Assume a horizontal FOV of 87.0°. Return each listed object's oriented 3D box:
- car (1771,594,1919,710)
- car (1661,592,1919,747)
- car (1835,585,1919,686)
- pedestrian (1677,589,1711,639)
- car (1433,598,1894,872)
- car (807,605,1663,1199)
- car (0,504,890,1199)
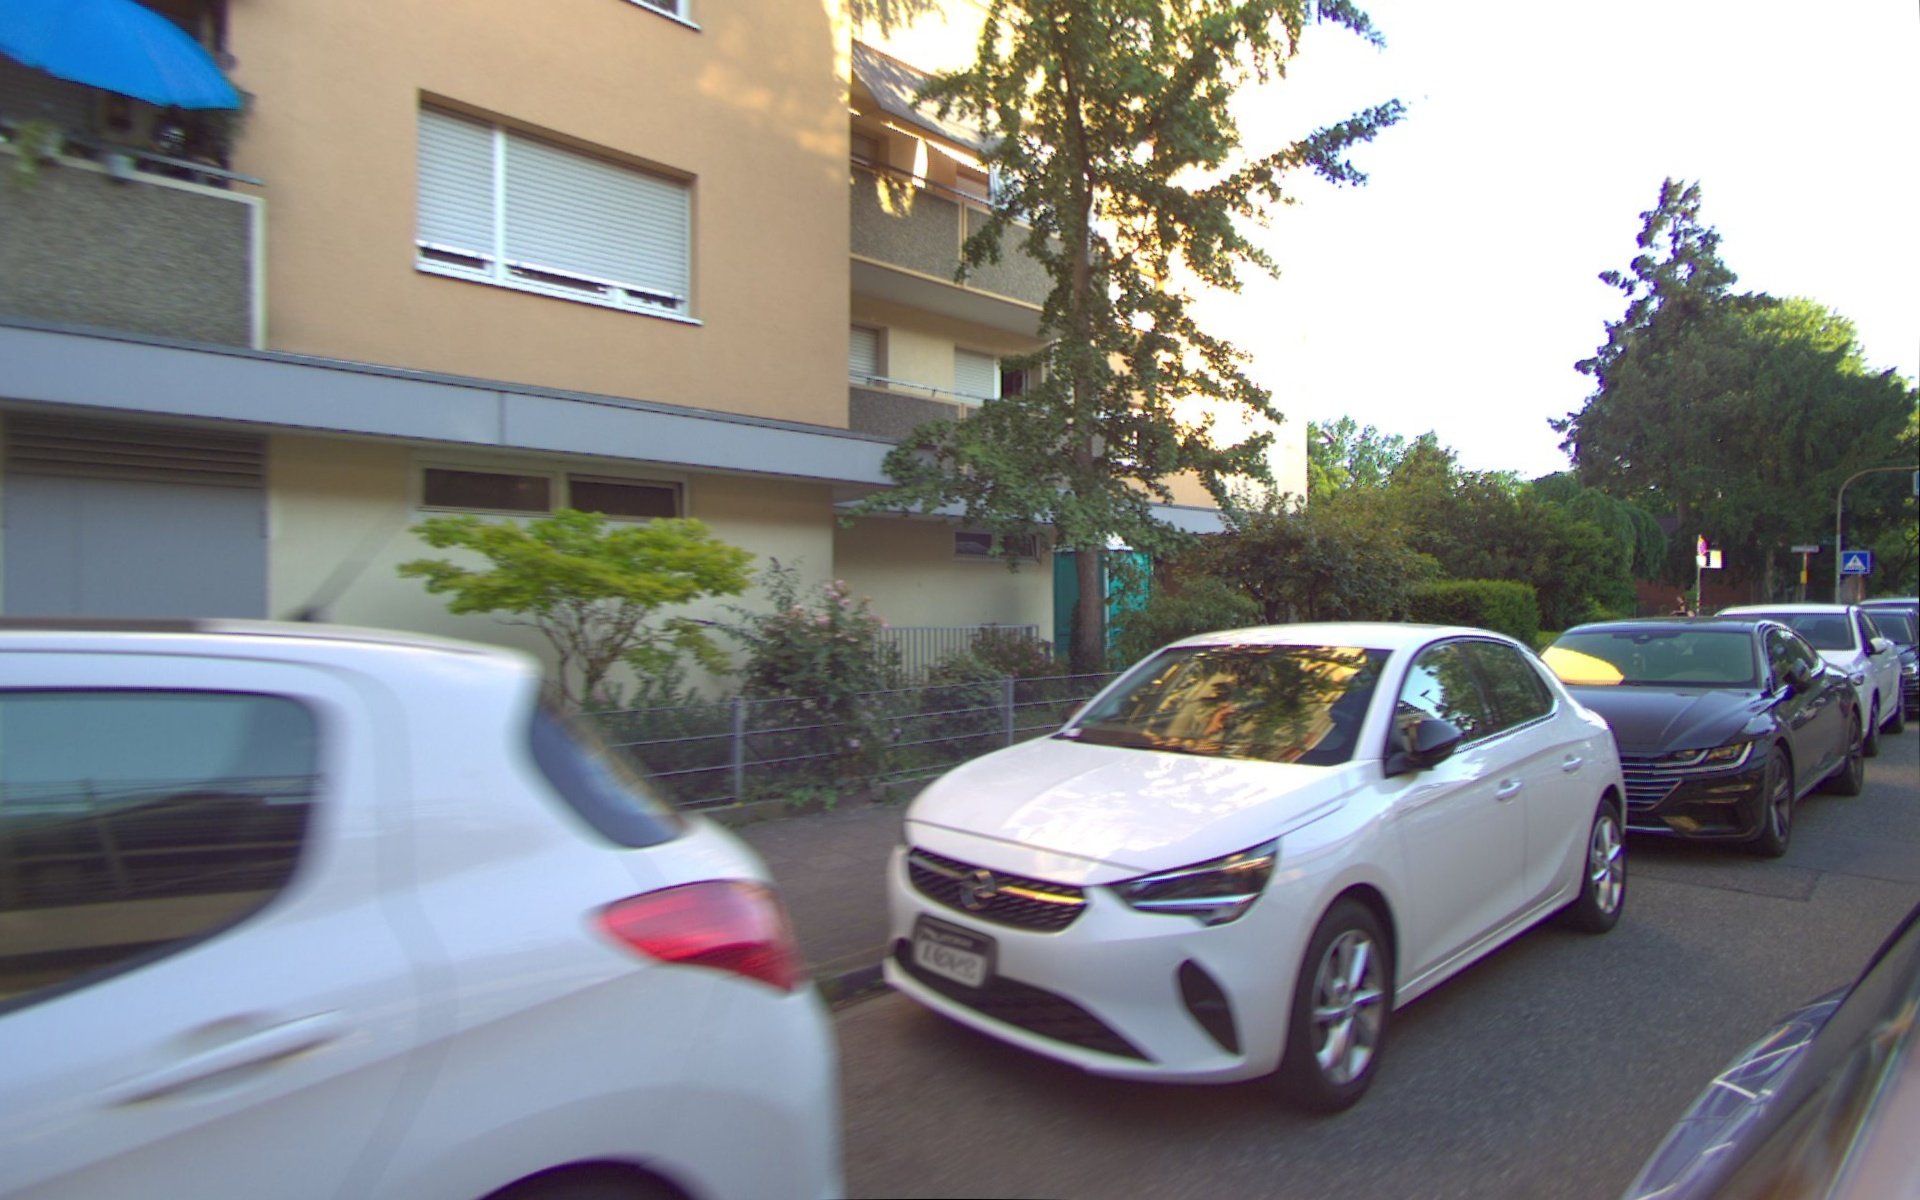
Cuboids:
[{"bbox_3d":[12.965,0.644,14.306,3.958,1.437,1.719,0,0,-42],"label":"car"},{"bbox_3d":[9.461,0.645,11.317,3.828,1.435,1.812,0,0,-41],"label":"car"},{"bbox_3d":[16.522,0.556,17.357,3.817,1.596,1.812,0,0,-42],"label":"car"},{"bbox_3d":[26.881,0.507,37.066,0.818,1.746,0.853,4,3,30],"label":"pedestrian"},{"bbox_3d":[5.405,0.708,7.505,4.545,1.435,1.812,0,0,-42],"label":"car"},{"bbox_3d":[1.472,0.772,4.297,3.984,1.480,1.612,0,0,-42],"label":"car"},{"bbox_3d":[-2.249,0.688,1.129,4.121,1.582,1.794,0,0,-42],"label":"car"}]
